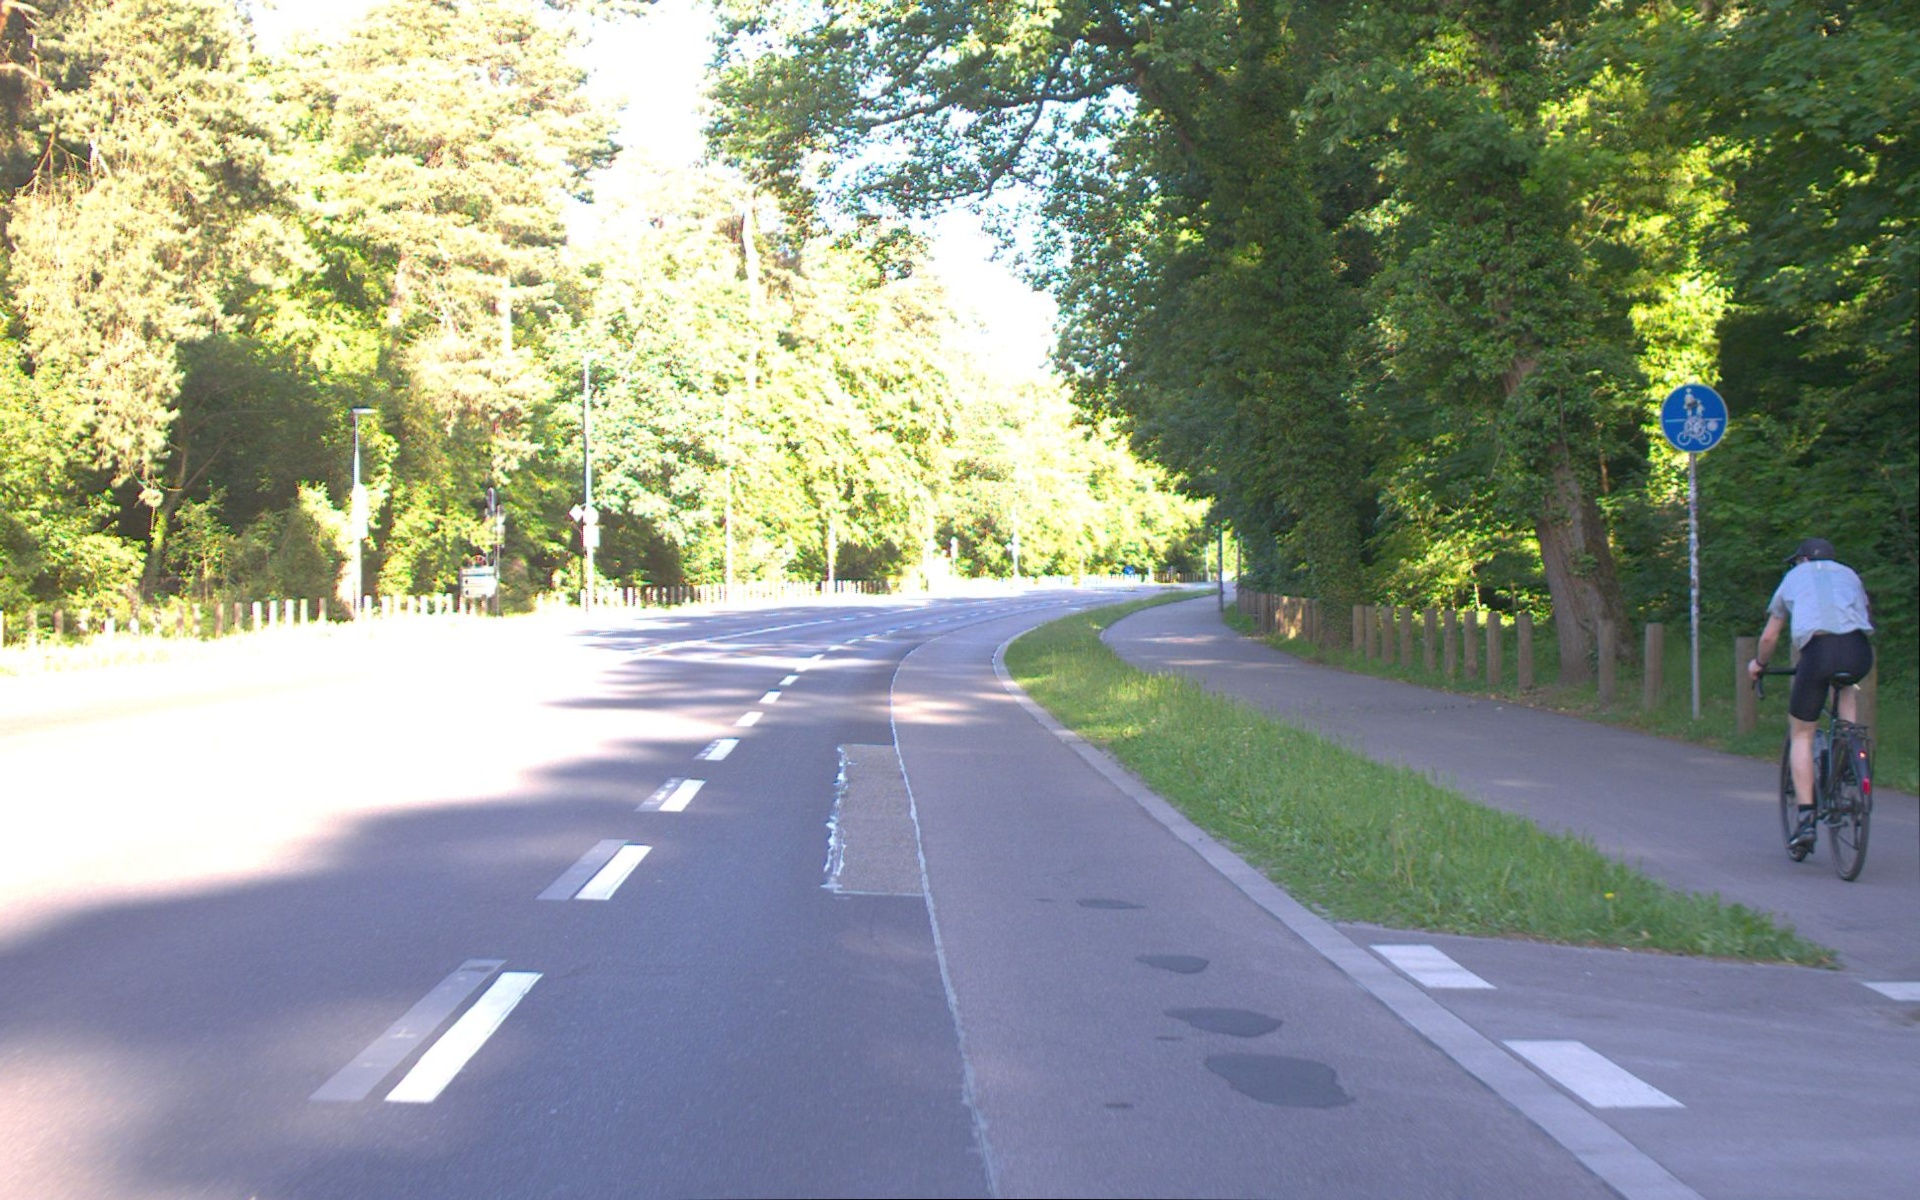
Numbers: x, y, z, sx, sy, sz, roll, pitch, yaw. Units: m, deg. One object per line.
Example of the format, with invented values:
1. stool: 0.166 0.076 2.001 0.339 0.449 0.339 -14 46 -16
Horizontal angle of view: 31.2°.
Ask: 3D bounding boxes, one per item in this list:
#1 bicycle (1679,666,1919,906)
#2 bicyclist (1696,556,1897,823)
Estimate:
1. bicycle: 4.136 0.883 16.967 0.712 1.052 2.053 0 1 -1
2. bicyclist: 4.139 0.424 17.081 0.712 1.284 1.104 0 1 -1
